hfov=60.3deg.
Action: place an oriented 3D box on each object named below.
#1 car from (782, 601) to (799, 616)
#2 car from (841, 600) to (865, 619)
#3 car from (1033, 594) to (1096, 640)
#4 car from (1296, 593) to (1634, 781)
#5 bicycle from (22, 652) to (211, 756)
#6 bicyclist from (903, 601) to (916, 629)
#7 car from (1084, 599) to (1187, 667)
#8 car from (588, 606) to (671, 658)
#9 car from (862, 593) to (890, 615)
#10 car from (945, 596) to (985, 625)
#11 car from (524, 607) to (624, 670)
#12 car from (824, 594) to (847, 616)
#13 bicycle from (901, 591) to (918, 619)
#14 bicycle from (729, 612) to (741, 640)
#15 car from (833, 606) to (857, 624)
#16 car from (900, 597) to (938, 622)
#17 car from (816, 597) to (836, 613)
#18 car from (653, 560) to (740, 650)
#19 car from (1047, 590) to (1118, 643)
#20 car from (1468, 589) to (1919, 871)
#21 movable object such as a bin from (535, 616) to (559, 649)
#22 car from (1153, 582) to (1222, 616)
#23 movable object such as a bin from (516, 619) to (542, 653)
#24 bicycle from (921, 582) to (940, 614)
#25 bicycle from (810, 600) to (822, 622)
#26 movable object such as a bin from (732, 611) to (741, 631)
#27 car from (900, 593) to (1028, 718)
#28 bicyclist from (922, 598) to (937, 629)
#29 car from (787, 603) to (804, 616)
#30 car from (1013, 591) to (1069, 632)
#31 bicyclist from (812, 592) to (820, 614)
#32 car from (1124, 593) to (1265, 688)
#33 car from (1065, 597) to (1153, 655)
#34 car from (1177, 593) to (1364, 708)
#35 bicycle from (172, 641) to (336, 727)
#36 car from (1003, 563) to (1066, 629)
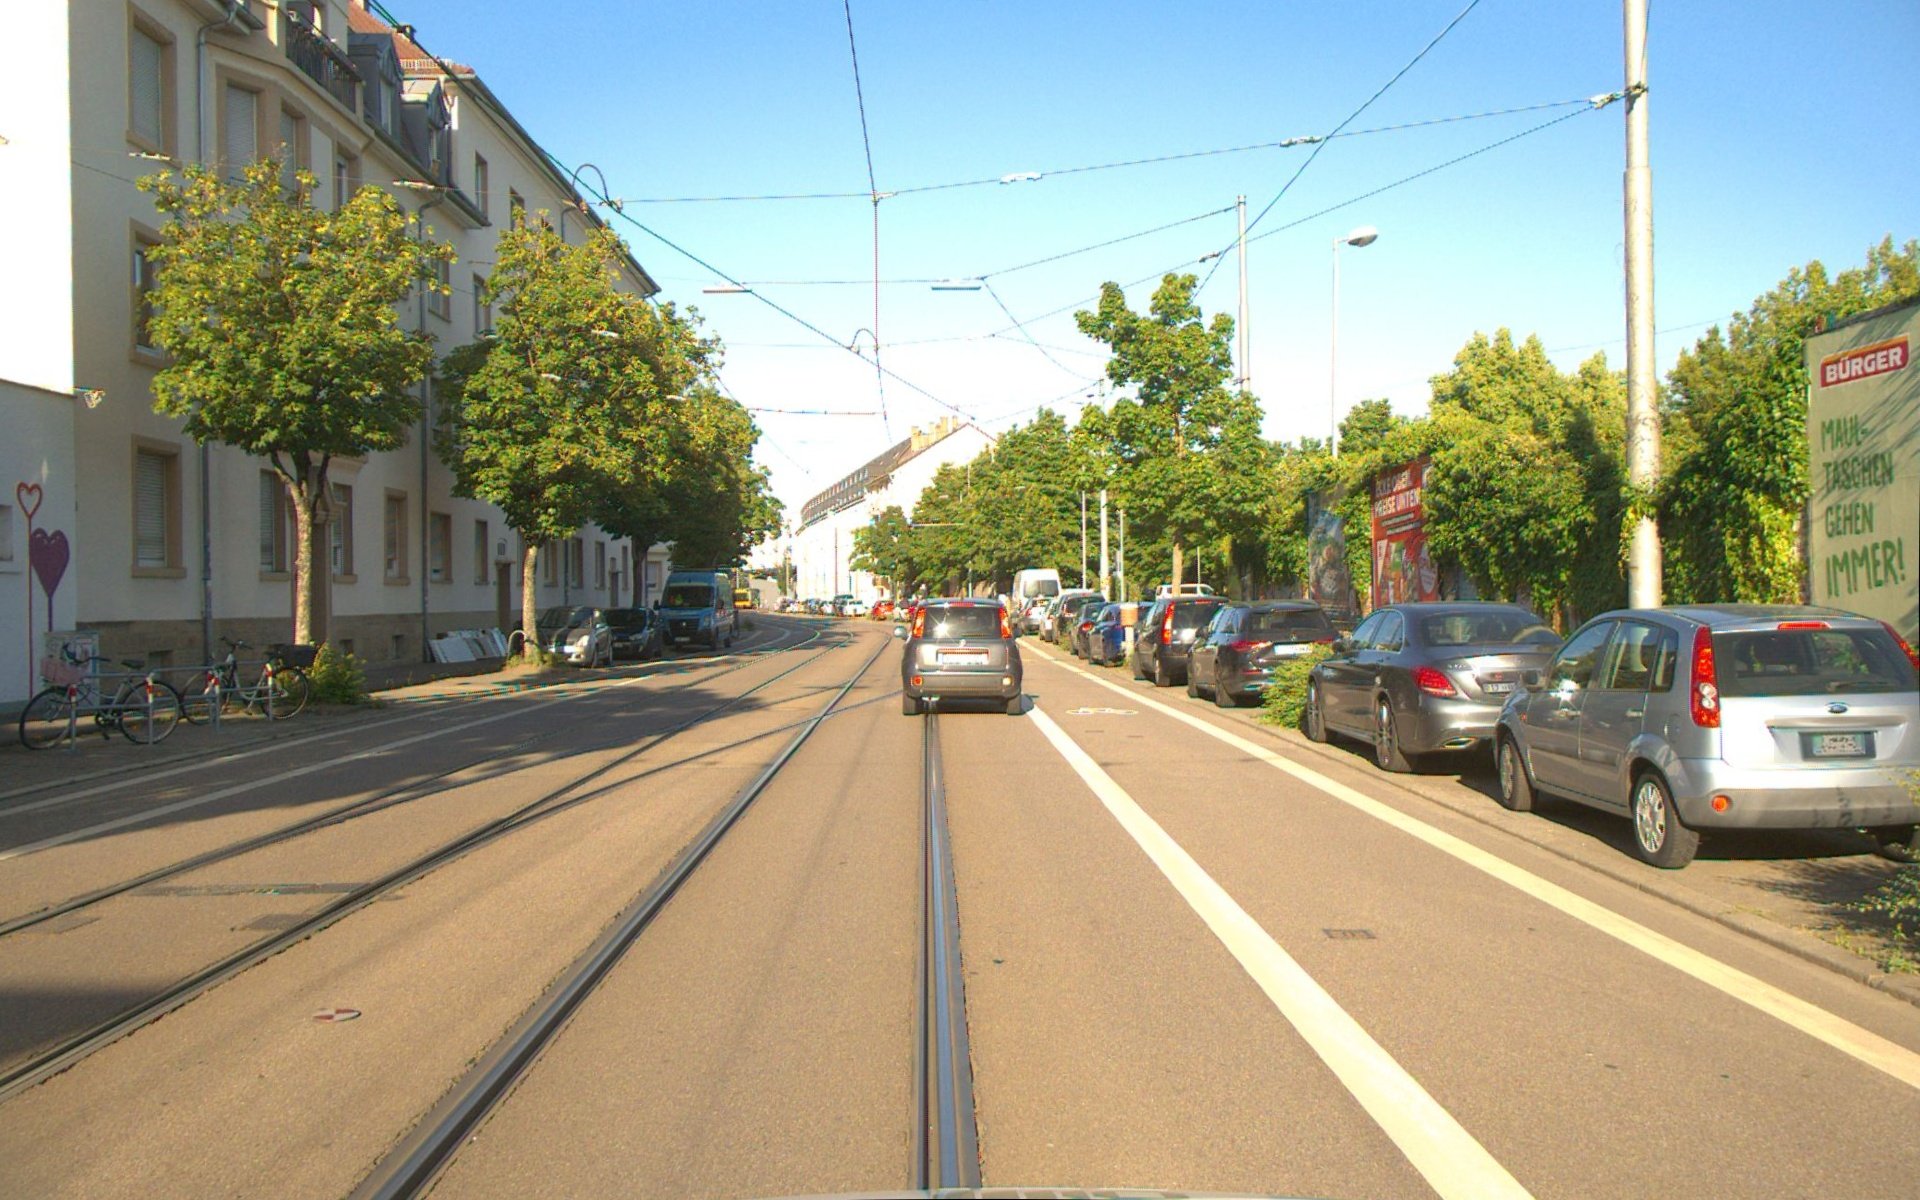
[{"bbox_3d":[-19.476,0.987,189.963,1.555,1.627,3.366,0,0,-12],"label":"car"},{"bbox_3d":[-9.229,0.789,142.411,1.626,1.599,3.489,0,0,-12],"label":"car"},{"bbox_3d":[3.634,0.582,58.097,1.694,1.539,4.248,0,0,-4],"label":"car"},{"bbox_3d":[4.557,0.715,15.687,1.787,1.510,4.601,0,0,0],"label":"car"},{"bbox_3d":[-9.346,1.126,18.386,0.656,1.058,1.780,0,-1,36],"label":"bicycle"},{"bbox_3d":[-3.211,0.948,104.316,0.687,1.790,0.755,0,-1,-12],"label":"bicyclist"},{"bbox_3d":[4.051,0.743,38.862,1.694,1.490,4.337,0,0,-4],"label":"car"},{"bbox_3d":[-9.557,0.899,48.138,1.618,1.450,4.189,0,0,-1],"label":"car"},{"bbox_3d":[-6.354,0.321,124.242,1.606,1.534,3.388,-3,0,-11],"label":"car"},{"bbox_3d":[0.279,0.595,93.021,1.657,1.556,3.993,-2,0,-8],"label":"car"},{"bbox_3d":[-9.704,0.936,41.815,1.618,1.517,3.999,0,0,-1],"label":"car"},{"bbox_3d":[-11.710,0.472,155.347,1.626,1.978,4.651,0,0,-12],"label":"car"},{"bbox_3d":[-3.195,0.319,104.374,0.663,1.777,2.151,0,0,-12],"label":"bicycle"},{"bbox_3d":[-9.382,1.067,68.981,0.502,1.154,2.027,0,0,-8],"label":"bicycle"},{"bbox_3d":[-10.198,1.306,146.825,1.626,1.599,3.865,0,0,-12],"label":"car"},{"bbox_3d":[-2.747,0.646,109.711,1.660,1.556,3.986,-2,0,-13],"label":"car"},{"bbox_3d":[-13.134,0.501,162.303,1.626,1.526,3.120,0,0,-12],"label":"car"},{"bbox_3d":[-8.869,0.186,56.112,1.976,2.875,6.031,0,0,0],"label":"car"},{"bbox_3d":[3.910,0.518,53.320,1.694,1.632,4.339,0,0,-4],"label":"car"},{"bbox_3d":[4.858,0.704,10.878,1.834,1.498,4.075,0,0,1],"label":"car"},{"bbox_3d":[-12.360,0.969,49.469,0.584,0.951,0.568,-1,0,-4],"label":"movable object such as a bin"},{"bbox_3d":[15.346,-0.070,111.665,4.199,2.049,1.771,-2,0,-7],"label":"car"},{"bbox_3d":[-12.261,1.022,47.050,0.584,0.951,0.568,-1,0,-4],"label":"movable object such as a bin"},{"bbox_3d":[-1.698,-0.107,95.215,0.663,1.777,2.151,0,0,-12],"label":"bicycle"},{"bbox_3d":[-13.413,1.026,153.857,0.728,2.049,2.803,0,0,-12],"label":"bicycle"},{"bbox_3d":[-11.501,1.066,85.045,0.476,1.005,0.658,0,-1,-9],"label":"movable object such as a bin"},{"bbox_3d":[0.005,0.707,23.111,1.616,1.568,4.233,1,0,-1],"label":"car"},{"bbox_3d":[-1.759,0.773,95.296,0.687,1.790,0.755,0,-1,-12],"label":"bicyclist"},{"bbox_3d":[-18.329,1.070,184.481,1.555,1.430,3.366,0,0,-12],"label":"car"},{"bbox_3d":[3.259,0.454,67.248,1.872,1.556,4.598,-1,0,-2],"label":"car"},{"bbox_3d":[-13.396,0.299,153.875,0.702,2.049,0.829,0,-1,-12],"label":"bicyclist"},{"bbox_3d":[4.197,0.698,30.129,1.788,1.519,3.812,-3,0,-3],"label":"car"},{"bbox_3d":[3.956,0.675,44.632,1.694,1.490,4.494,0,0,-4],"label":"car"},{"bbox_3d":[4.404,0.671,24.142,1.787,1.477,4.641,-1,0,-1],"label":"car"},{"bbox_3d":[-9.361,1.096,21.988,0.523,1.058,1.974,0,-1,43],"label":"bicycle"},{"bbox_3d":[3.276,-0.149,73.919,2.137,2.712,6.087,-3,0,-3],"label":"car"}]
